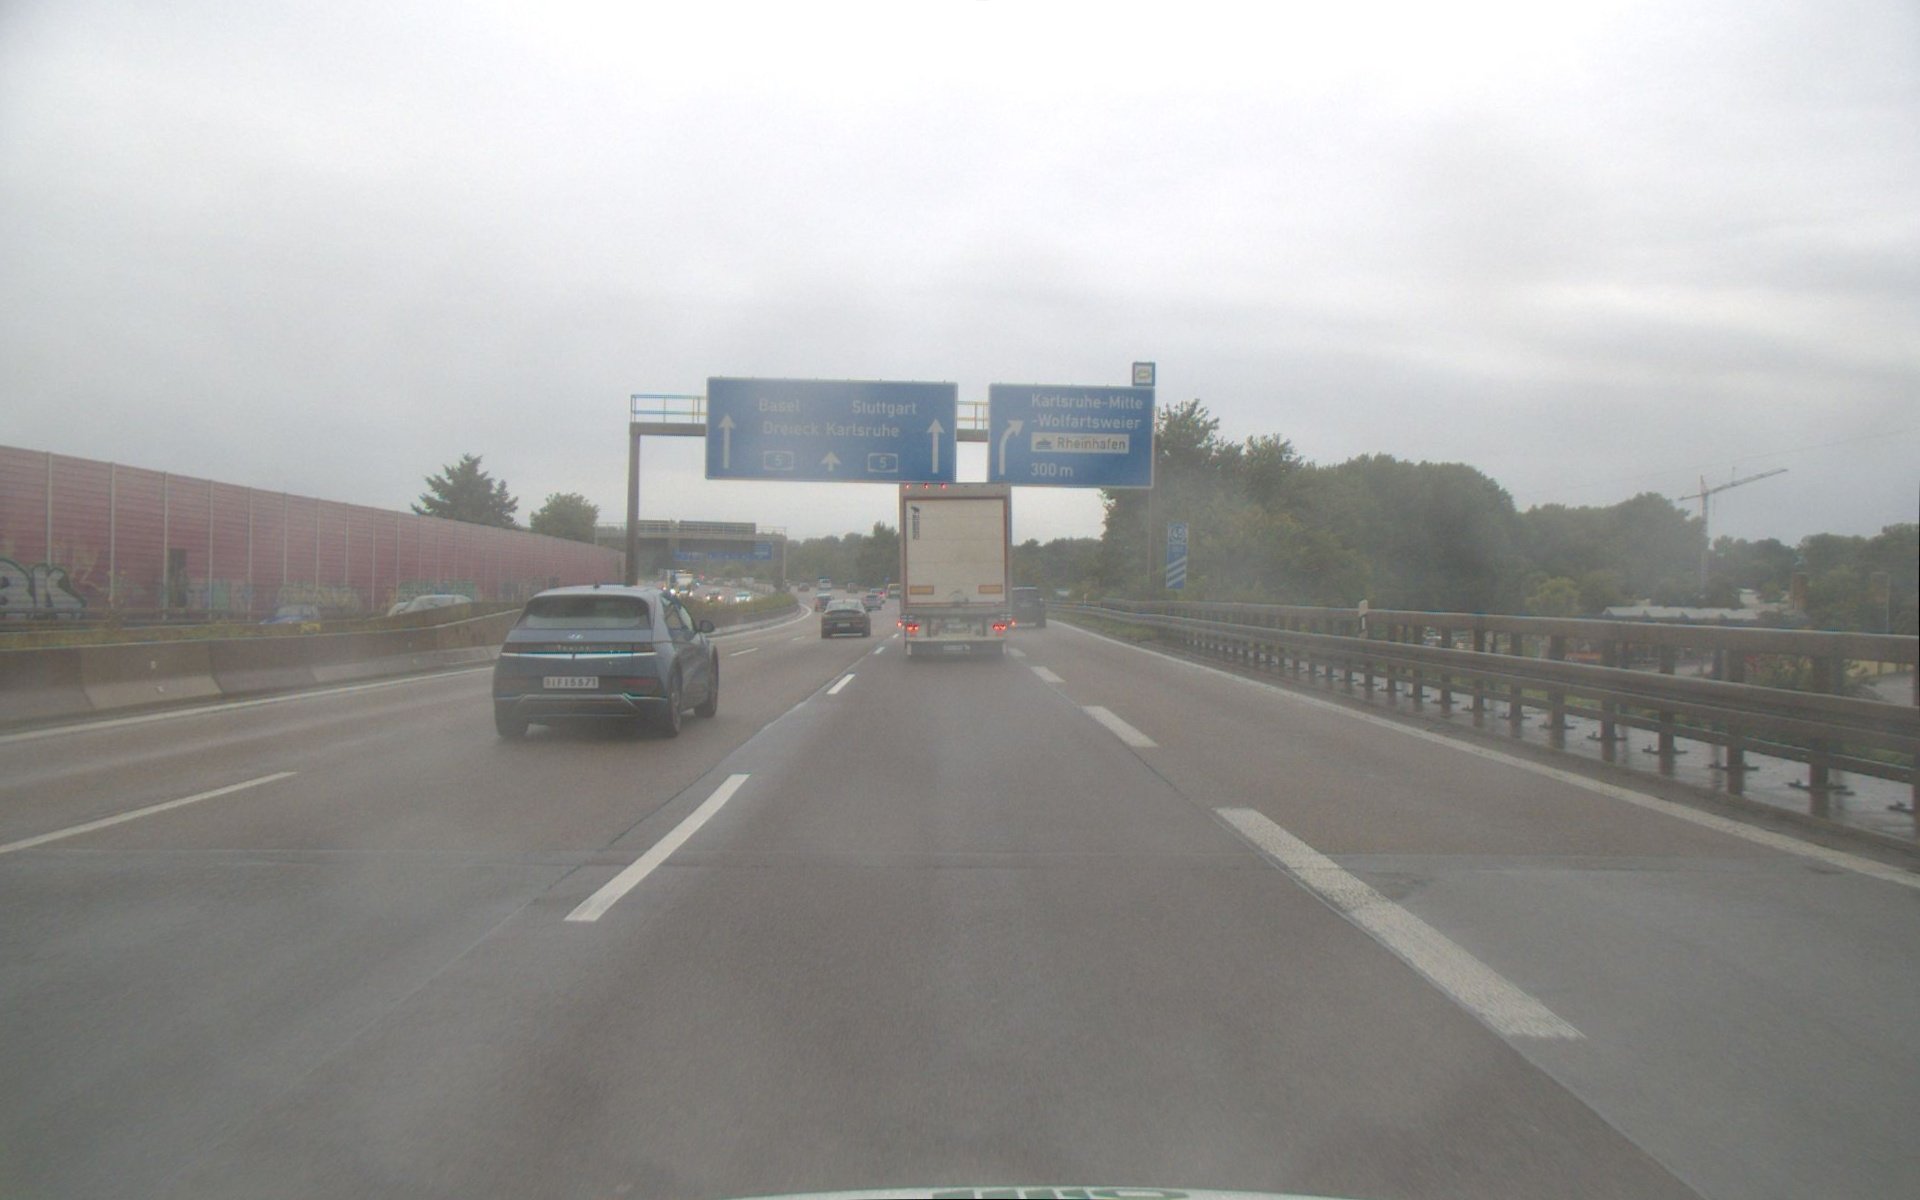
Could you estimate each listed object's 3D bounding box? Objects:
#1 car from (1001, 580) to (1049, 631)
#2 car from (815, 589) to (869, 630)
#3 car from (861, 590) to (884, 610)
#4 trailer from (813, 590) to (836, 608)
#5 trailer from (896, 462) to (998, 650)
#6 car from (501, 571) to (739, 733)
[{"bbox_3d":[2.734,0.219,70.196,1.858,1.983,4.000,3,0,1],"label":"car"},{"bbox_3d":[-4.512,0.371,63.811,1.690,1.427,4.828,3,0,0],"label":"car"},{"bbox_3d":[-8.078,-0.010,152.536,1.855,1.754,4.000,1,0,0],"label":"car"},{"bbox_3d":[-12.828,-0.108,156.680,1.778,1.653,4.568,2,0,0],"label":"trailer"},{"bbox_3d":[-0.310,-1.088,44.564,2.294,4.230,14.826,0,1,0],"label":"trailer"},{"bbox_3d":[-3.821,0.543,19.516,1.801,1.622,5.155,1,0,-1],"label":"car"}]
